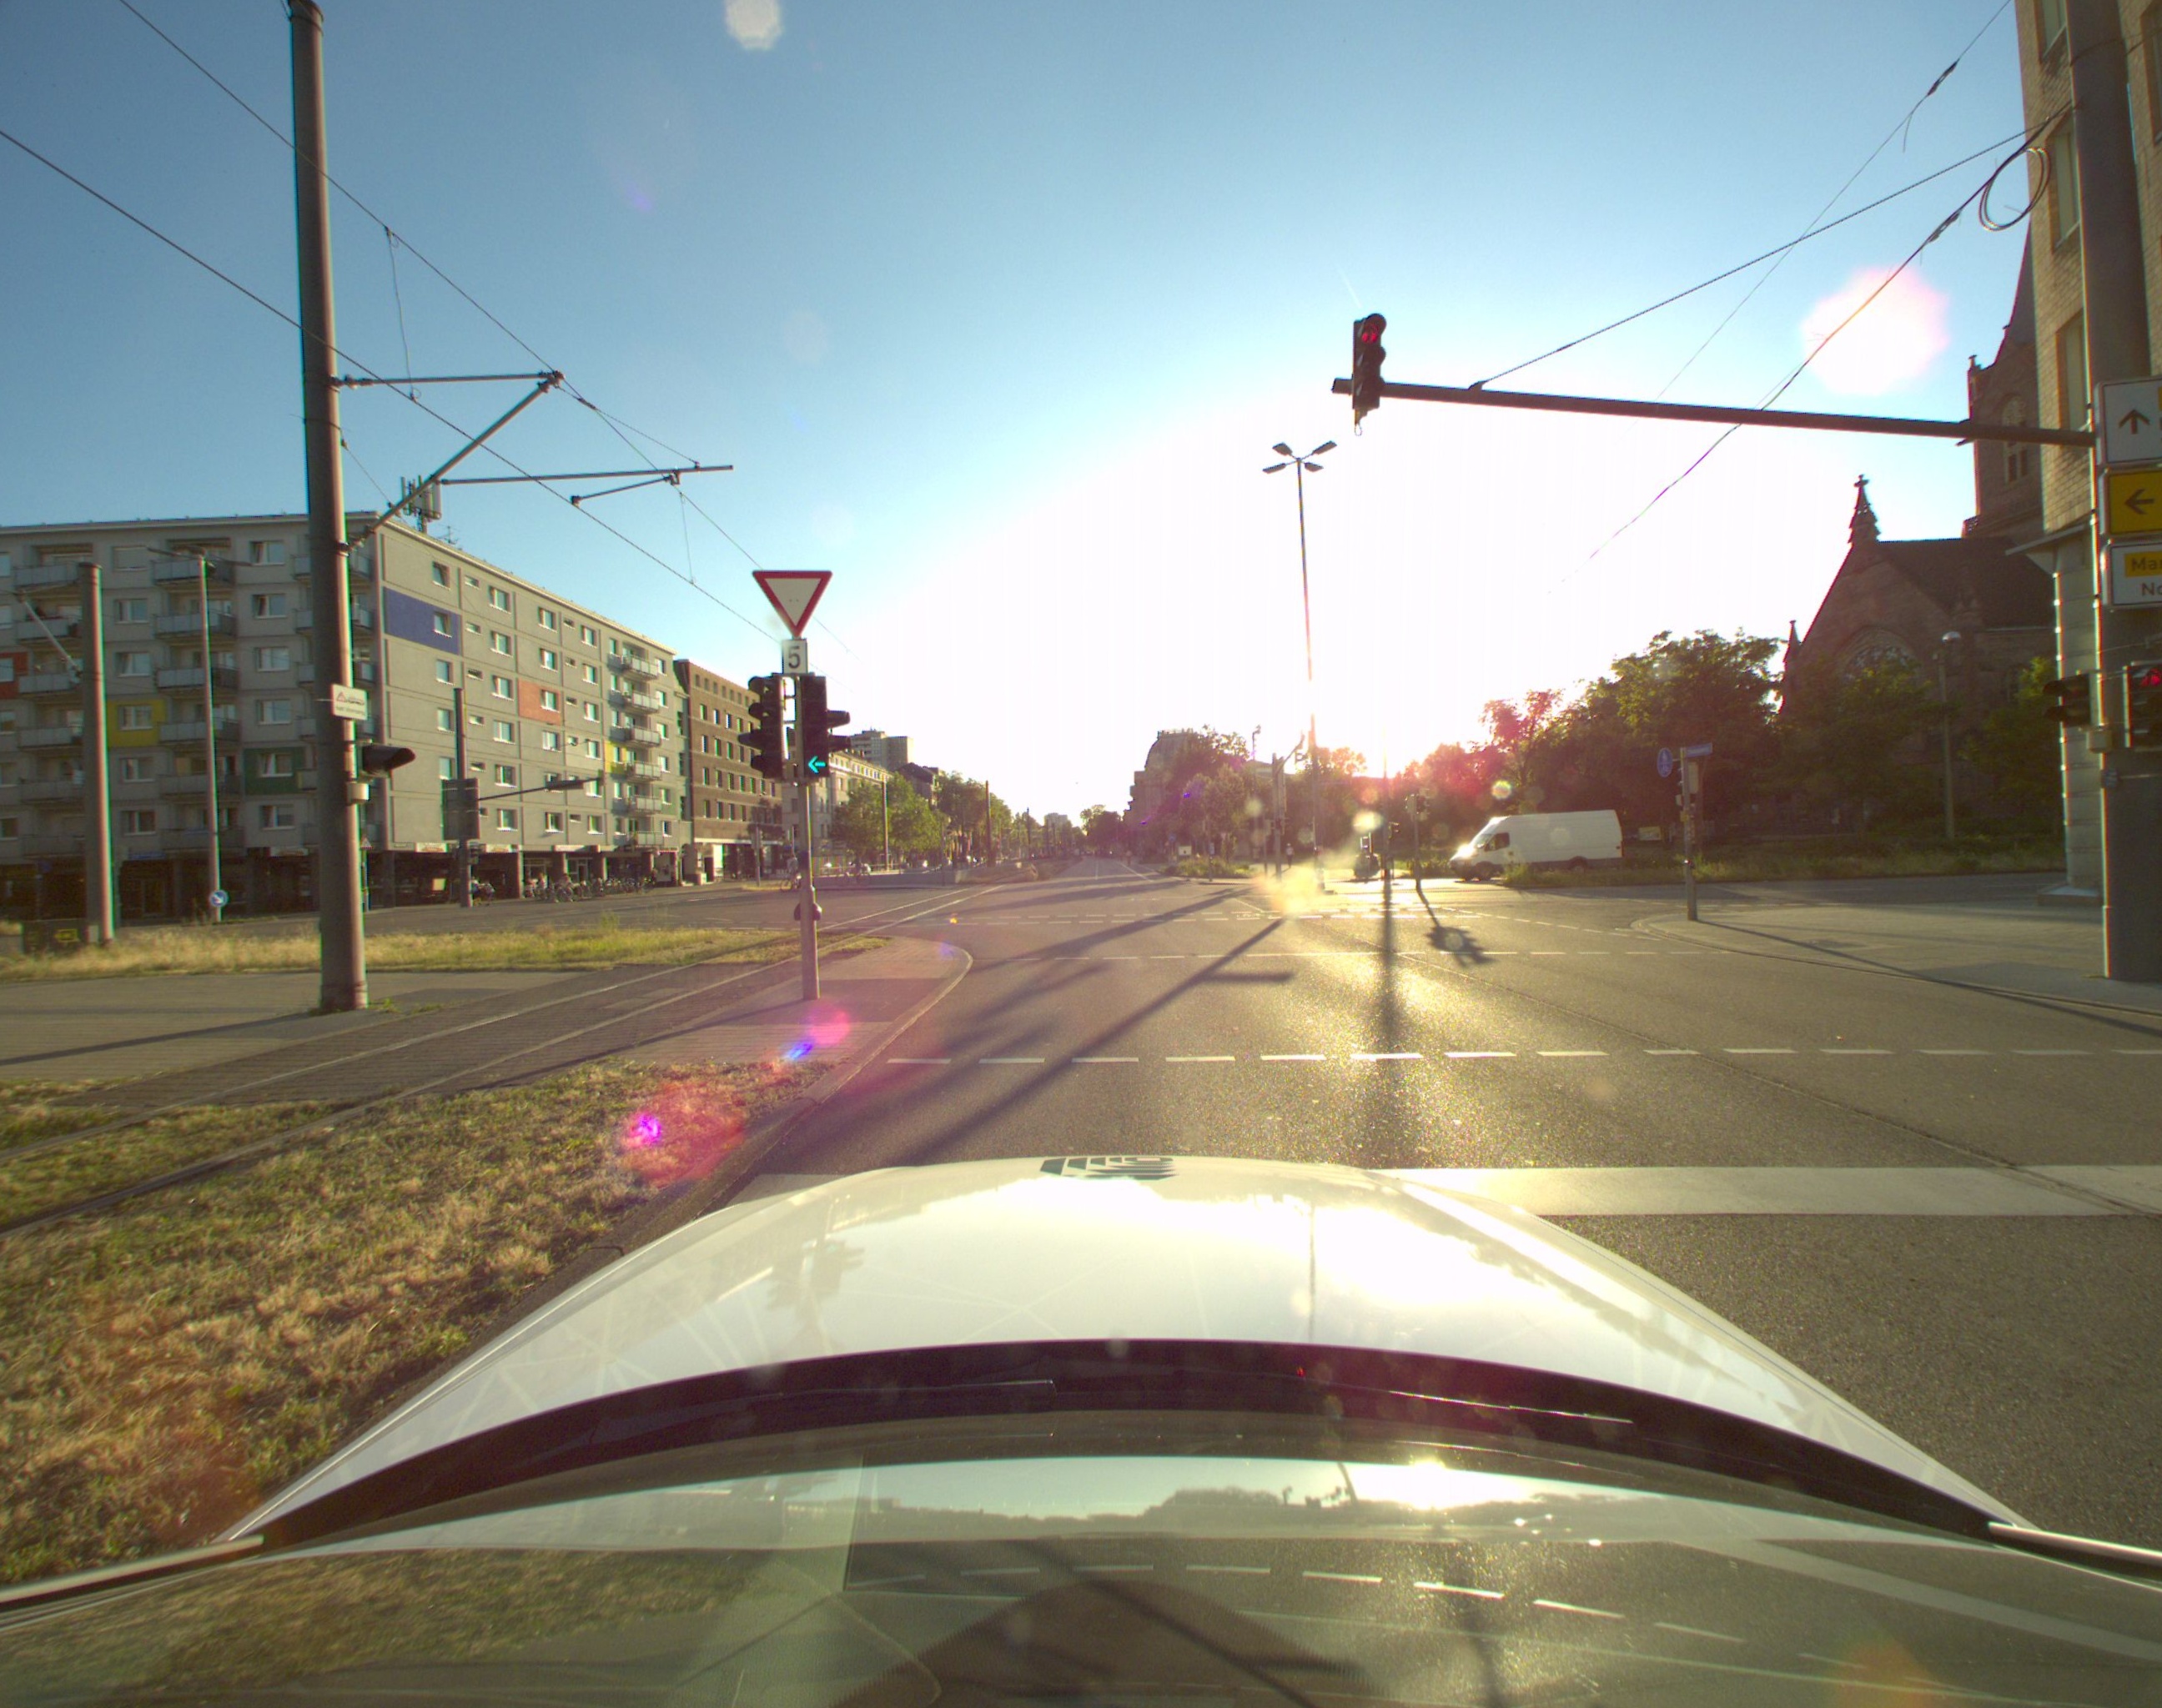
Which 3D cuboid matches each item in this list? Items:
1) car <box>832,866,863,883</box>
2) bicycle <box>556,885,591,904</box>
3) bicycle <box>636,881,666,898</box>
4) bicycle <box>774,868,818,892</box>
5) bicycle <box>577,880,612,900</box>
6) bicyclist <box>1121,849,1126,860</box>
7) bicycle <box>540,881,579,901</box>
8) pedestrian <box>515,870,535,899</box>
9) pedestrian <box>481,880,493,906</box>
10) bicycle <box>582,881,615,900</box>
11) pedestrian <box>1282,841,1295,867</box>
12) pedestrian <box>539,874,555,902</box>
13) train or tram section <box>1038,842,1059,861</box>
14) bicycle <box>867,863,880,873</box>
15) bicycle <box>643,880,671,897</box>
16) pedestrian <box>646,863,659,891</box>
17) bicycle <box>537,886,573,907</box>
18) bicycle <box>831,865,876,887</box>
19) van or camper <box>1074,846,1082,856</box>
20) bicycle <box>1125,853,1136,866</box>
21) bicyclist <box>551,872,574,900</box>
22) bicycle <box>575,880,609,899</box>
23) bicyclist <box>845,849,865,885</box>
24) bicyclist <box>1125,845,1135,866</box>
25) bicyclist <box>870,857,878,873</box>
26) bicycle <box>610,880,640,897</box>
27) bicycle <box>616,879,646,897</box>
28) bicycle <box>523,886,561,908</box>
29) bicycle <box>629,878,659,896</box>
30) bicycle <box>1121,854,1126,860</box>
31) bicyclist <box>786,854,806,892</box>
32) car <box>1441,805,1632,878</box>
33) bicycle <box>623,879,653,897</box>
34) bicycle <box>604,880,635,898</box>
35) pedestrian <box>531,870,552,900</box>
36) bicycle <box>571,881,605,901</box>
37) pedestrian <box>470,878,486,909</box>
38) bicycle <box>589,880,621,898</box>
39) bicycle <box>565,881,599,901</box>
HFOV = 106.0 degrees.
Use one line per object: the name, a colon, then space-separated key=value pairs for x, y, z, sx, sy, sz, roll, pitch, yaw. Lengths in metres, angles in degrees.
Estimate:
car: x=-24.648 y=2.143 z=86.004 sx=1.681 sy=1.618 sz=4.006 roll=-4 pitch=0 yaw=5
bicycle: x=-31.458 y=2.505 z=50.478 sx=1.750 sy=1.139 sz=0.600 roll=-2 pitch=0 yaw=2
bicycle: x=-30.848 y=2.538 z=58.407 sx=1.683 sy=1.170 sz=0.749 roll=-2 pitch=0 yaw=3
bicycle: x=-14.006 y=1.290 z=40.069 sx=1.902 sy=1.075 sz=0.629 roll=-2 pitch=0 yaw=-12
bicycle: x=-31.241 y=2.304 z=52.298 sx=1.782 sy=1.191 sz=0.652 roll=-2 pitch=0 yaw=1
bicyclist: x=7.758 y=0.079 z=148.480 sx=0.922 sy=2.013 sz=0.851 roll=-2 pitch=0 yaw=1
bicycle: x=-27.559 y=1.948 z=43.040 sx=0.503 sy=0.944 sz=1.678 roll=-2 pitch=0 yaw=29
pedestrian: x=-35.792 y=1.969 z=52.425 sx=0.826 sy=1.813 sz=0.719 roll=1 pitch=-1 yaw=-9
pedestrian: x=-32.335 y=2.143 z=44.331 sx=0.383 sy=1.383 sz=0.392 roll=-2 pitch=0 yaw=-26
bicycle: x=-31.863 y=2.389 z=53.746 sx=1.769 sy=1.159 sz=0.606 roll=-2 pitch=0 yaw=1
pedestrian: x=14.679 y=0.005 z=57.567 sx=0.826 sy=1.803 sz=0.814 roll=-2 pitch=0 yaw=17
pedestrian: x=-33.143 y=2.102 z=50.552 sx=0.579 sy=1.684 sz=0.545 roll=-2 pitch=0 yaw=-10
train or tram section: x=-7.241 y=-0.695 z=182.773 sx=4.375 sy=3.849 sz=11.402 roll=-2 pitch=2 yaw=-2
bicycle: x=-27.515 y=1.873 z=107.972 sx=0.809 sy=1.201 sz=2.415 roll=-2 pitch=0 yaw=4
bicycle: x=-30.785 y=2.495 z=59.138 sx=1.683 sy=1.144 sz=0.697 roll=-2 pitch=0 yaw=3
pedestrian: x=-34.518 y=1.851 z=65.598 sx=0.599 sy=2.178 sz=0.792 roll=-2 pitch=0 yaw=1
bicycle: x=-32.186 y=2.601 z=49.869 sx=1.770 sy=1.142 sz=0.608 roll=-2 pitch=0 yaw=1
bicycle: x=-11.833 y=1.118 z=42.376 sx=2.162 sy=1.083 sz=0.537 roll=-1 pitch=-1 yaw=-8
van or camper: x=-1.011 y=-0.916 z=257.270 sx=2.441 sy=2.770 sz=5.600 roll=-2 pitch=0 yaw=0
bicycle: x=5.527 y=0.564 z=91.635 sx=1.094 sy=1.399 sz=2.833 roll=-2 pitch=0 yaw=2
bicyclist: x=-27.482 y=1.680 z=43.191 sx=0.494 sy=1.426 sz=0.863 roll=-2 pitch=0 yaw=29
bicycle: x=-31.904 y=2.323 z=53.112 sx=1.824 sy=1.160 sz=0.640 roll=-2 pitch=0 yaw=1
bicyclist: x=-11.768 y=0.691 z=42.394 sx=0.875 sy=1.818 sz=0.536 roll=-2 pitch=0 yaw=-8
bicyclist: x=5.508 y=0.132 z=91.615 sx=1.078 sy=2.276 sz=0.986 roll=-2 pitch=0 yaw=1
bicyclist: x=-27.494 y=1.441 z=108.214 sx=0.793 sy=2.013 sz=0.924 roll=-2 pitch=0 yaw=4
bicycle: x=-31.103 y=2.350 z=55.557 sx=1.754 sy=1.119 sz=0.568 roll=-2 pitch=0 yaw=2
bicycle: x=-31.045 y=2.335 z=56.191 sx=1.719 sy=1.124 sz=0.634 roll=-2 pitch=-1 yaw=3
bicycle: x=-32.283 y=2.564 z=48.797 sx=1.788 sy=1.208 sz=0.638 roll=-2 pitch=0 yaw=0
bicycle: x=-30.888 y=2.361 z=57.633 sx=1.683 sy=1.179 sz=0.749 roll=-2 pitch=0 yaw=3
bicycle: x=7.777 y=0.504 z=148.482 sx=0.921 sy=1.111 sz=2.334 roll=-2 pitch=0 yaw=2
bicyclist: x=-14.007 y=0.922 z=40.064 sx=0.793 sy=1.818 sz=0.643 roll=-2 pitch=0 yaw=-12
car: x=19.548 y=-0.516 z=35.202 sx=6.981 sy=2.827 sz=2.095 roll=-2 pitch=0 yaw=3
bicycle: x=-30.951 y=2.368 z=56.871 sx=1.683 sy=1.153 sz=0.706 roll=-2 pitch=0 yaw=3
bicycle: x=-31.135 y=2.339 z=54.971 sx=1.748 sy=1.117 sz=0.552 roll=-2 pitch=0 yaw=2
pedestrian: x=-34.798 y=1.995 z=52.540 sx=0.785 sy=1.841 sz=0.733 roll=-2 pitch=0 yaw=-7
bicycle: x=-31.266 y=2.333 z=51.656 sx=1.762 sy=1.182 sz=0.568 roll=-2 pitch=0 yaw=1
pedestrian: x=-32.325 y=2.100 z=43.680 sx=0.575 sy=1.620 sz=0.598 roll=-2 pitch=0 yaw=-29
bicycle: x=-31.787 y=2.324 z=54.411 sx=1.764 sy=1.136 sz=0.606 roll=-2 pitch=0 yaw=2
bicycle: x=-31.277 y=2.291 z=51.051 sx=1.759 sy=1.167 sz=0.540 roll=-2 pitch=0 yaw=2
